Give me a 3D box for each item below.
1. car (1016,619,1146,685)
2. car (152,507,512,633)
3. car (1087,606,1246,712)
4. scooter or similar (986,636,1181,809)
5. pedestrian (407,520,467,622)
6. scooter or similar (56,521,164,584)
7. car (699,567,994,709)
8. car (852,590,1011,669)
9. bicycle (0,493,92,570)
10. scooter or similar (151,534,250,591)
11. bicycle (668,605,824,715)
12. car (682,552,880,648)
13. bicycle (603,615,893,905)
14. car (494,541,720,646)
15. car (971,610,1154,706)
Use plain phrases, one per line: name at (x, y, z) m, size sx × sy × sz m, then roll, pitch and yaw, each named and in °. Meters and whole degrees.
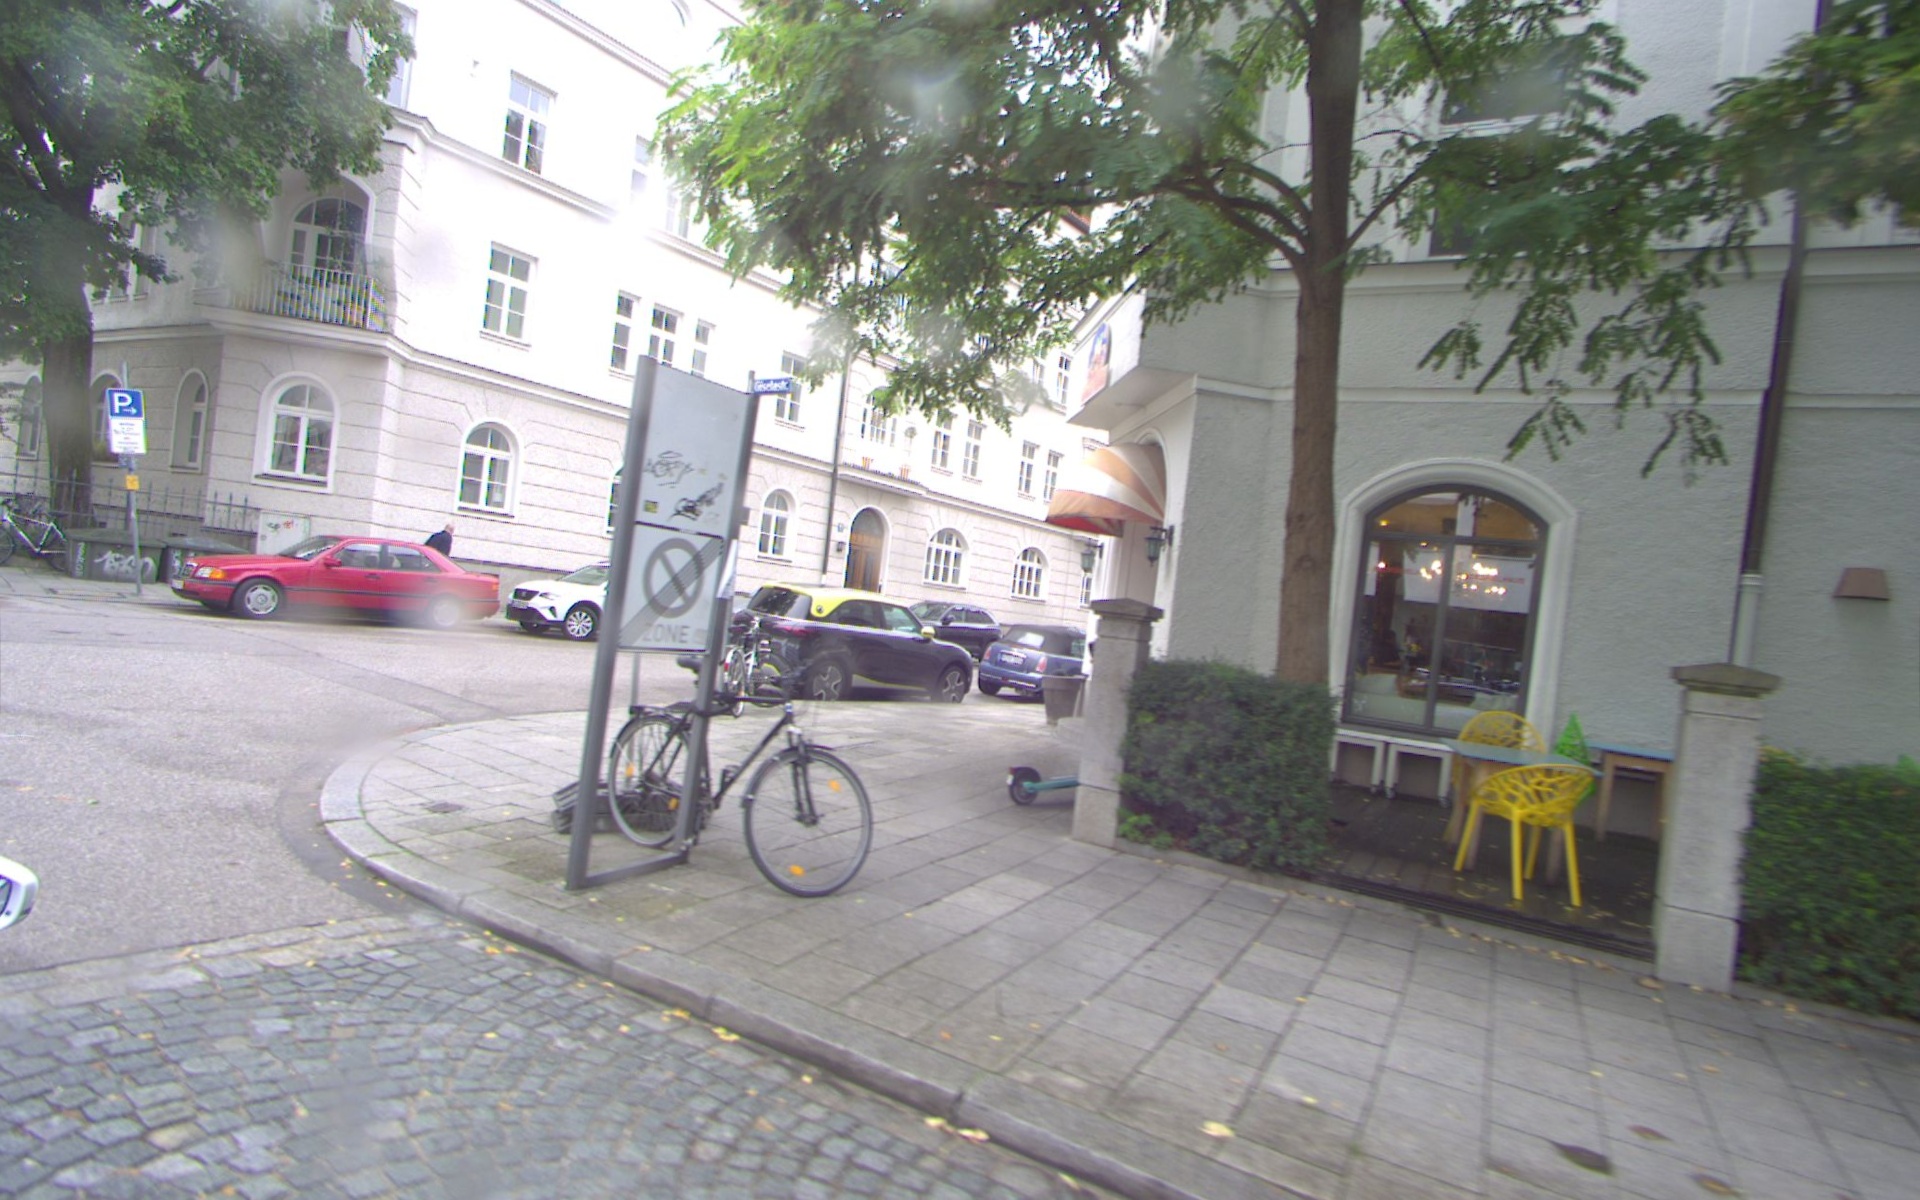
car at (4.081, 1.758, 33.514) m, size 4.266 × 1.684 × 1.866 m, roll 8°, pitch 0°, yaw -44°
car at (-9.794, -0.402, 16.046) m, size 1.733 × 1.374 × 4.468 m, roll 7°, pitch -1°, yaw 36°
car at (4.798, 1.399, 22.987) m, size 1.749 × 1.992 × 3.917 m, roll 7°, pitch -2°, yaw 40°
scooter or similar at (0.982, 0.910, 7.727) m, size 1.593 × 1.188 × 0.401 m, roll 3°, pitch 2°, yaw -38°
pedestrian at (-10.255, -0.562, 19.730) m, size 0.729 × 1.898 × 0.495 m, roll 7°, pitch 0°, yaw 24°
scooter or similar at (-14.444, -0.808, 17.113) m, size 0.910 × 0.858 × 1.183 m, roll 6°, pitch -1°, yaw 38°
car at (-1.549, 0.632, 14.960) m, size 1.878 × 1.616 × 4.072 m, roll 6°, pitch -2°, yaw 40°
car at (-0.692, 0.832, 27.276) m, size 1.861 × 1.684 × 4.276 m, roll 7°, pitch 0°, yaw 38°
bicycle at (-15.718, -1.179, 16.707) m, size 0.554 × 1.138 × 1.836 m, roll 8°, pitch 0°, yaw 38°
scooter or similar at (-13.687, -0.672, 18.149) m, size 0.686 × 0.835 × 1.237 m, roll 7°, pitch -1°, yaw 38°
bicycle at (-2.314, 0.653, 11.049) m, size 0.727 × 1.082 × 1.602 m, roll 3°, pitch -1°, yaw 32°
car at (-4.088, 0.061, 23.543) m, size 1.727 × 1.732 × 4.323 m, roll 7°, pitch 0°, yaw 40°
bicycle at (-1.131, 0.745, 5.154) m, size 1.565 × 1.160 × 0.388 m, roll 6°, pitch 0°, yaw 36°
car at (-6.764, -0.065, 19.656) m, size 1.541 × 1.539 × 3.890 m, roll 7°, pitch -1°, yaw 34°
car at (2.040, 1.144, 19.246) m, size 1.676 × 1.442 × 3.527 m, roll 6°, pitch -2°, yaw 40°
